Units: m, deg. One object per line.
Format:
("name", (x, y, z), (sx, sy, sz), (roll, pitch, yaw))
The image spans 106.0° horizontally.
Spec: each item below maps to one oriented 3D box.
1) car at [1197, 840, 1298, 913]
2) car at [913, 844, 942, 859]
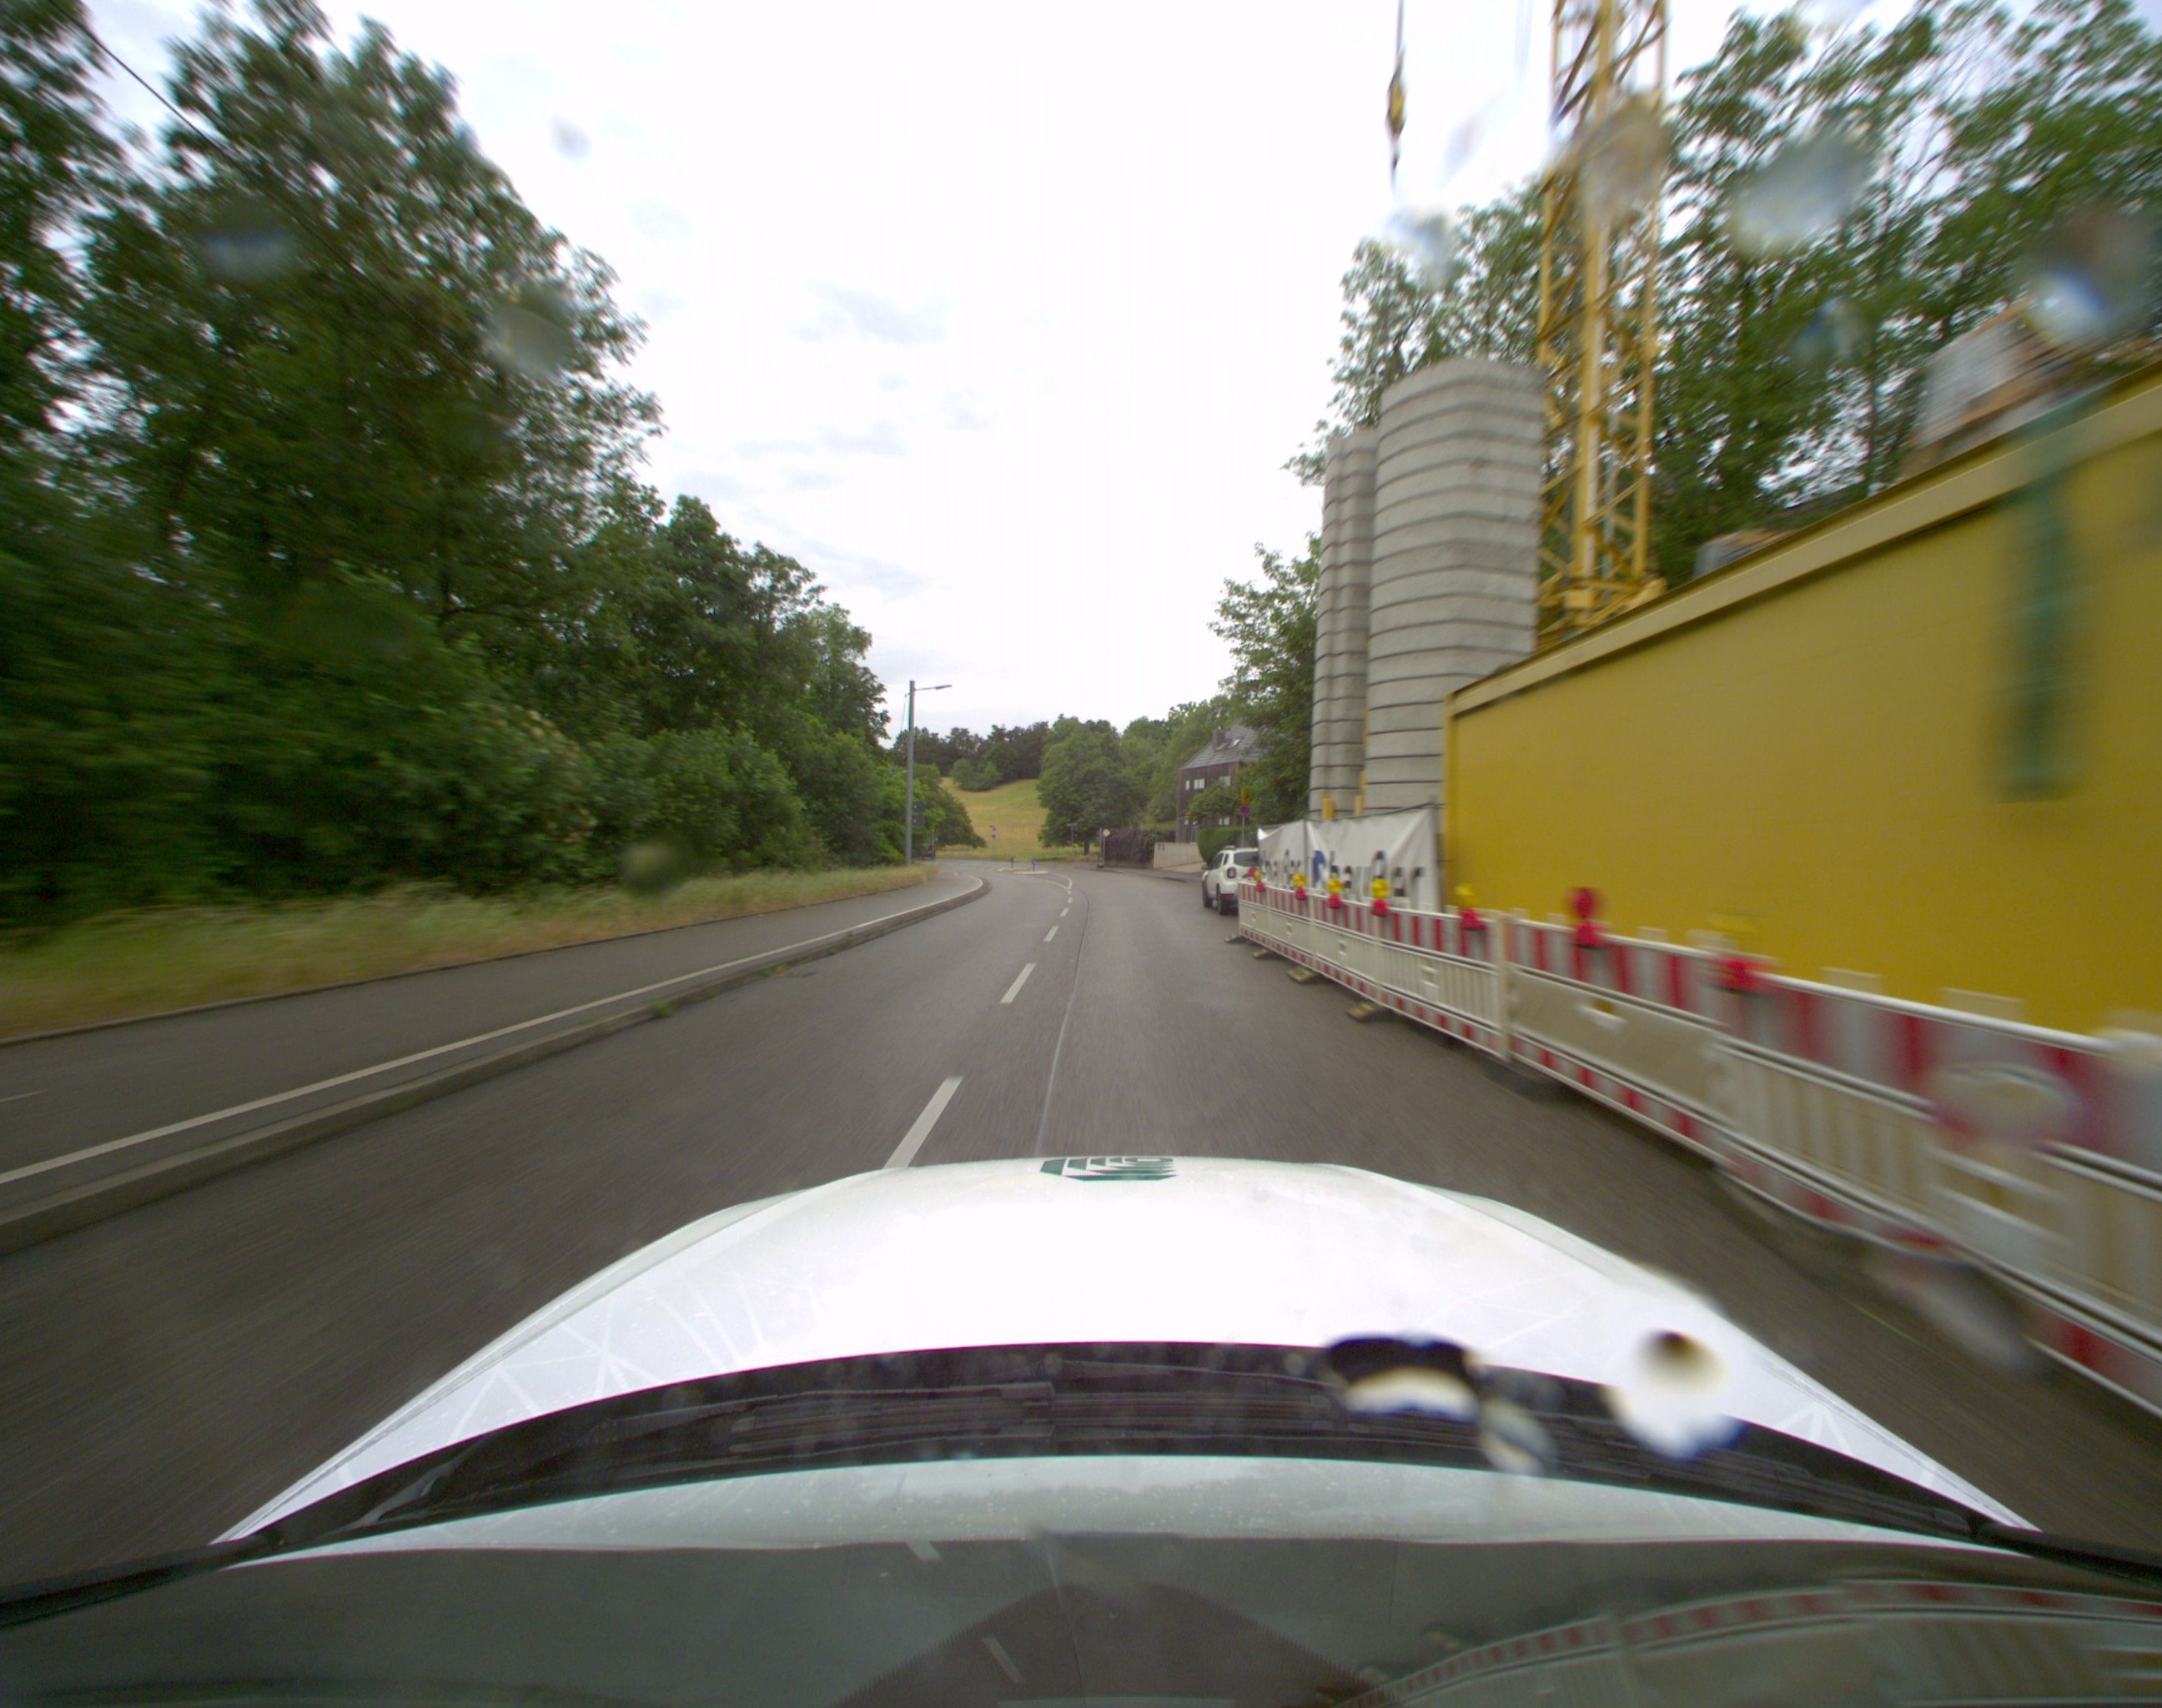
("car", (4.232, 0.523, 21.402), (1.739, 1.706, 4.502), (-1, 0, 0))
("car", (-17.490, -0.281, 92.878), (1.944, 1.751, 3.961), (1, 0, -31))
